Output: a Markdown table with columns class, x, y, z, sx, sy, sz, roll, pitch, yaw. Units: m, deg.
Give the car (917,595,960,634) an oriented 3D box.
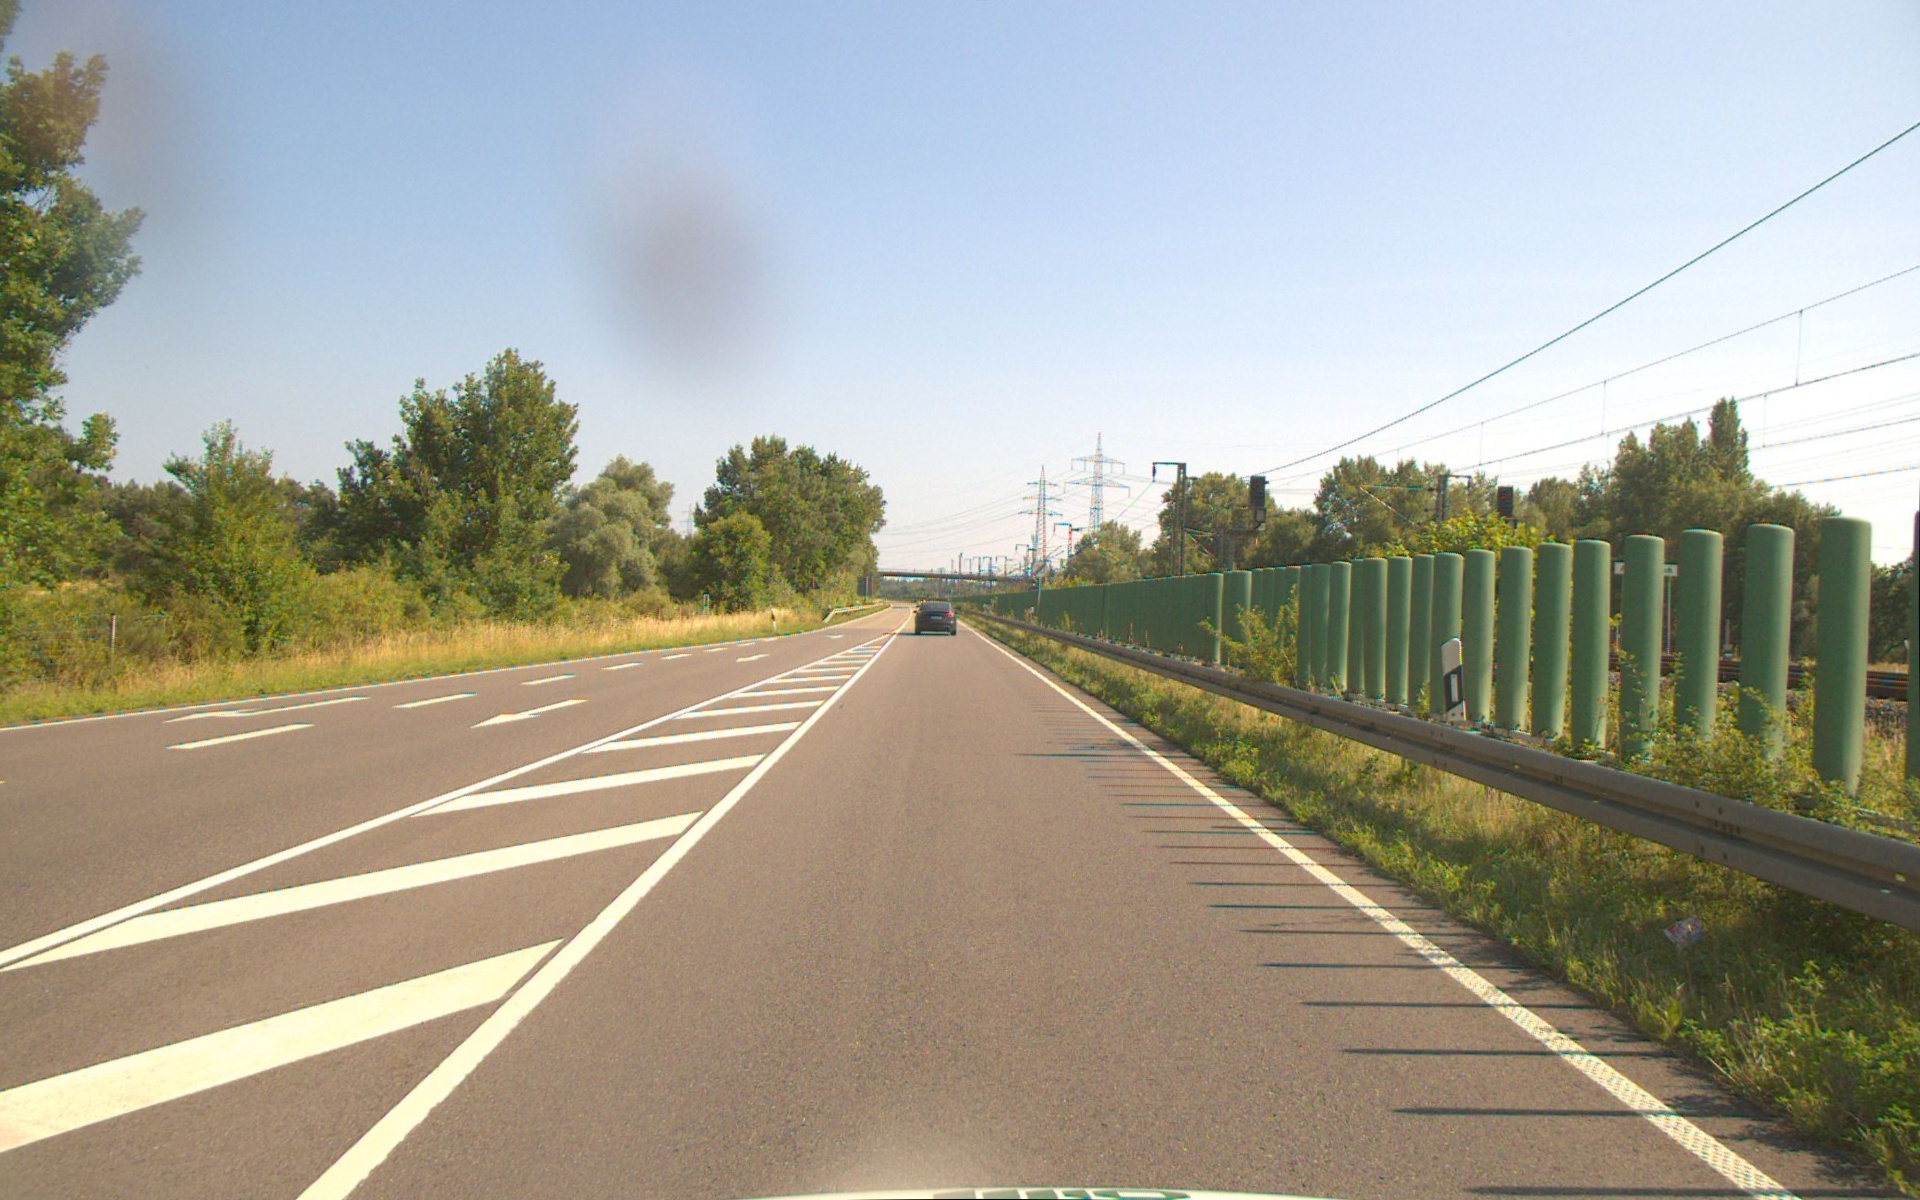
| class | x | y | z | sx | sy | sz | roll | pitch | yaw |
| --- | --- | --- | --- | --- | --- | --- | --- | --- | --- |
| car | -0.966 | 0.634 | 72.794 | 1.821 | 1.670 | 3.999 | 0 | 0 | -1 |
